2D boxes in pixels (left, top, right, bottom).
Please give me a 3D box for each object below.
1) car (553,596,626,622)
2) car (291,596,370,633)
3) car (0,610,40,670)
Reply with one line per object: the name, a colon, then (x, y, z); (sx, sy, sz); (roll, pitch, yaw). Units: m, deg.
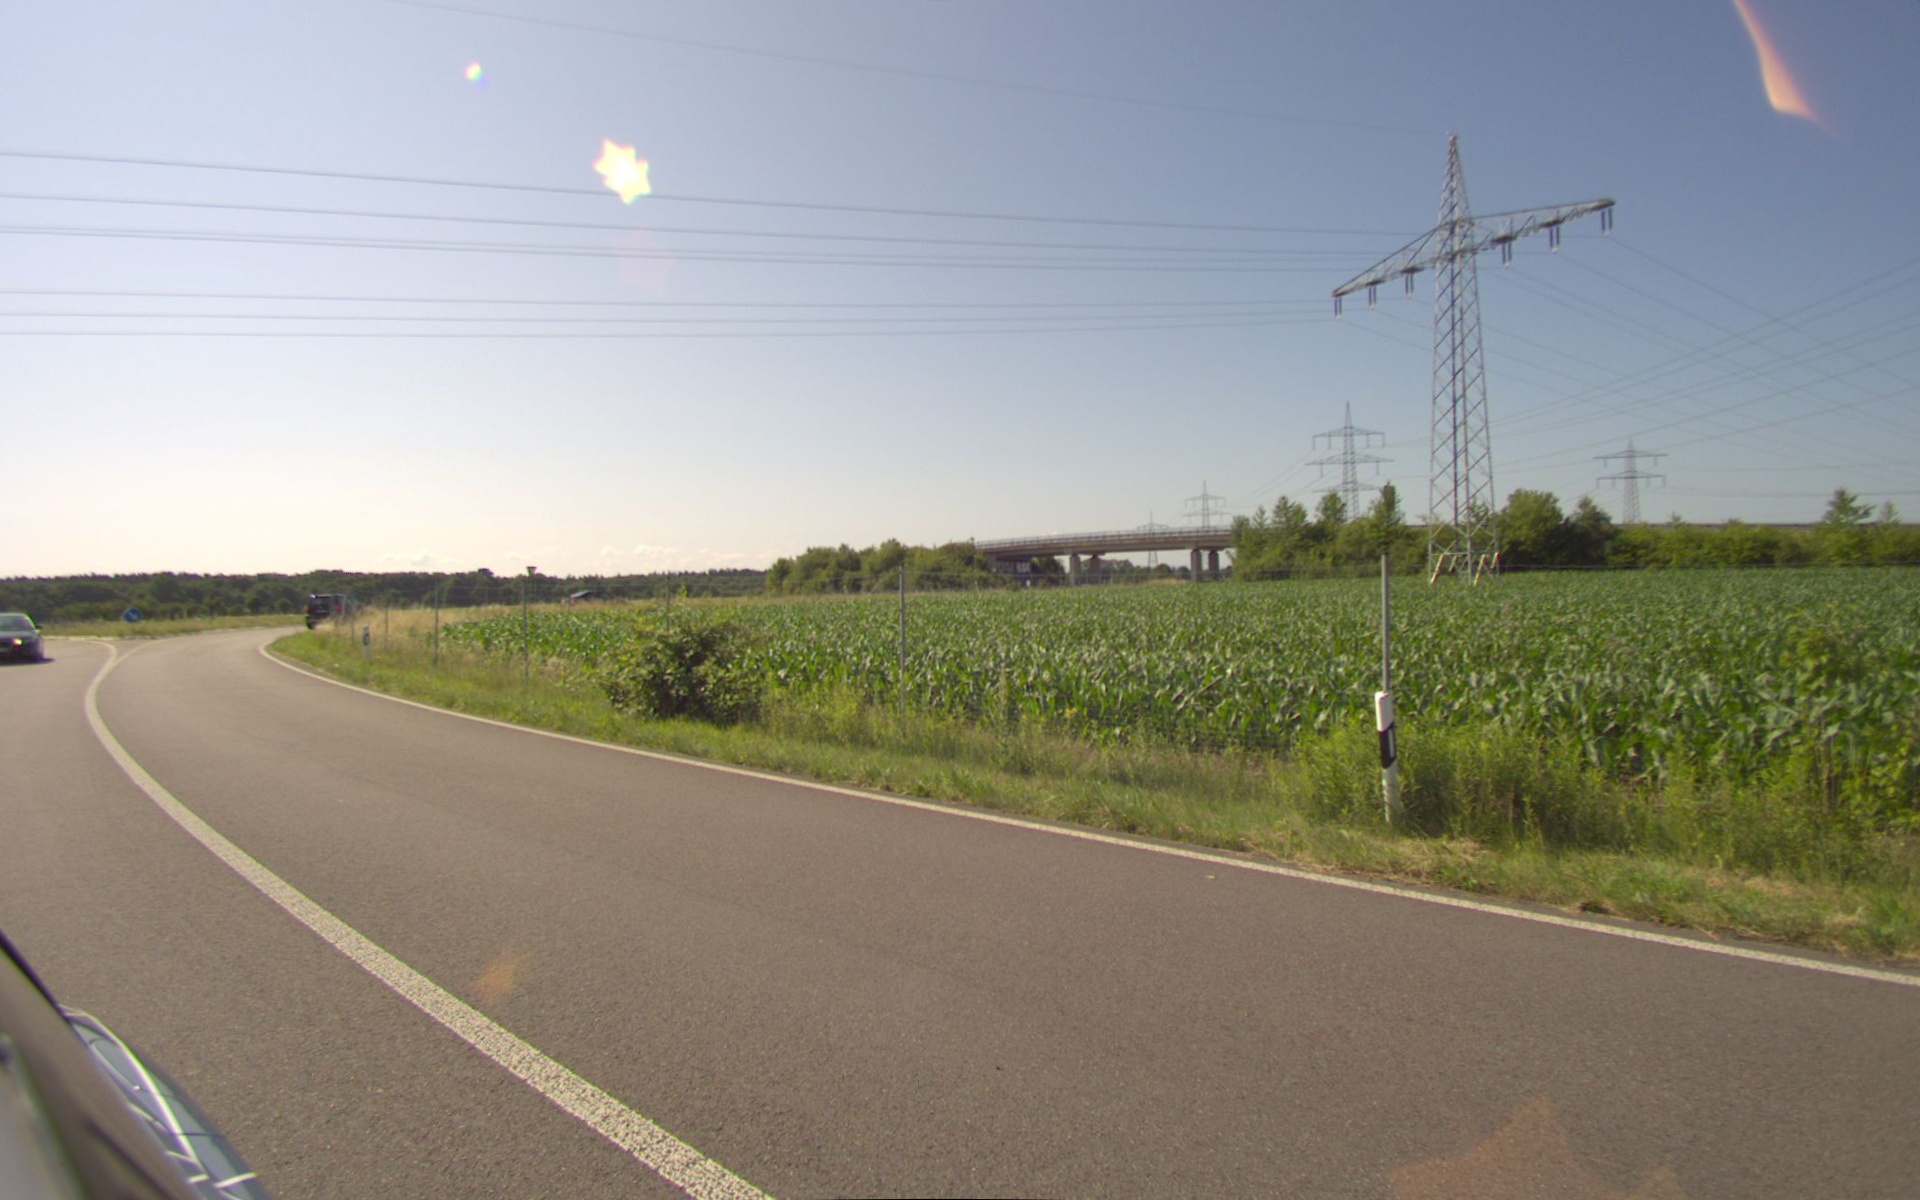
car: (-25.450, 0.600, 69.685); (1.774, 1.467, 4.544); (-2, 1, 31)
car: (-31.278, 0.686, 50.425); (1.957, 1.719, 4.272); (0, 1, -12)
car: (-27.692, 1.122, 28.955); (1.860, 1.467, 4.079); (-2, 3, -44)
